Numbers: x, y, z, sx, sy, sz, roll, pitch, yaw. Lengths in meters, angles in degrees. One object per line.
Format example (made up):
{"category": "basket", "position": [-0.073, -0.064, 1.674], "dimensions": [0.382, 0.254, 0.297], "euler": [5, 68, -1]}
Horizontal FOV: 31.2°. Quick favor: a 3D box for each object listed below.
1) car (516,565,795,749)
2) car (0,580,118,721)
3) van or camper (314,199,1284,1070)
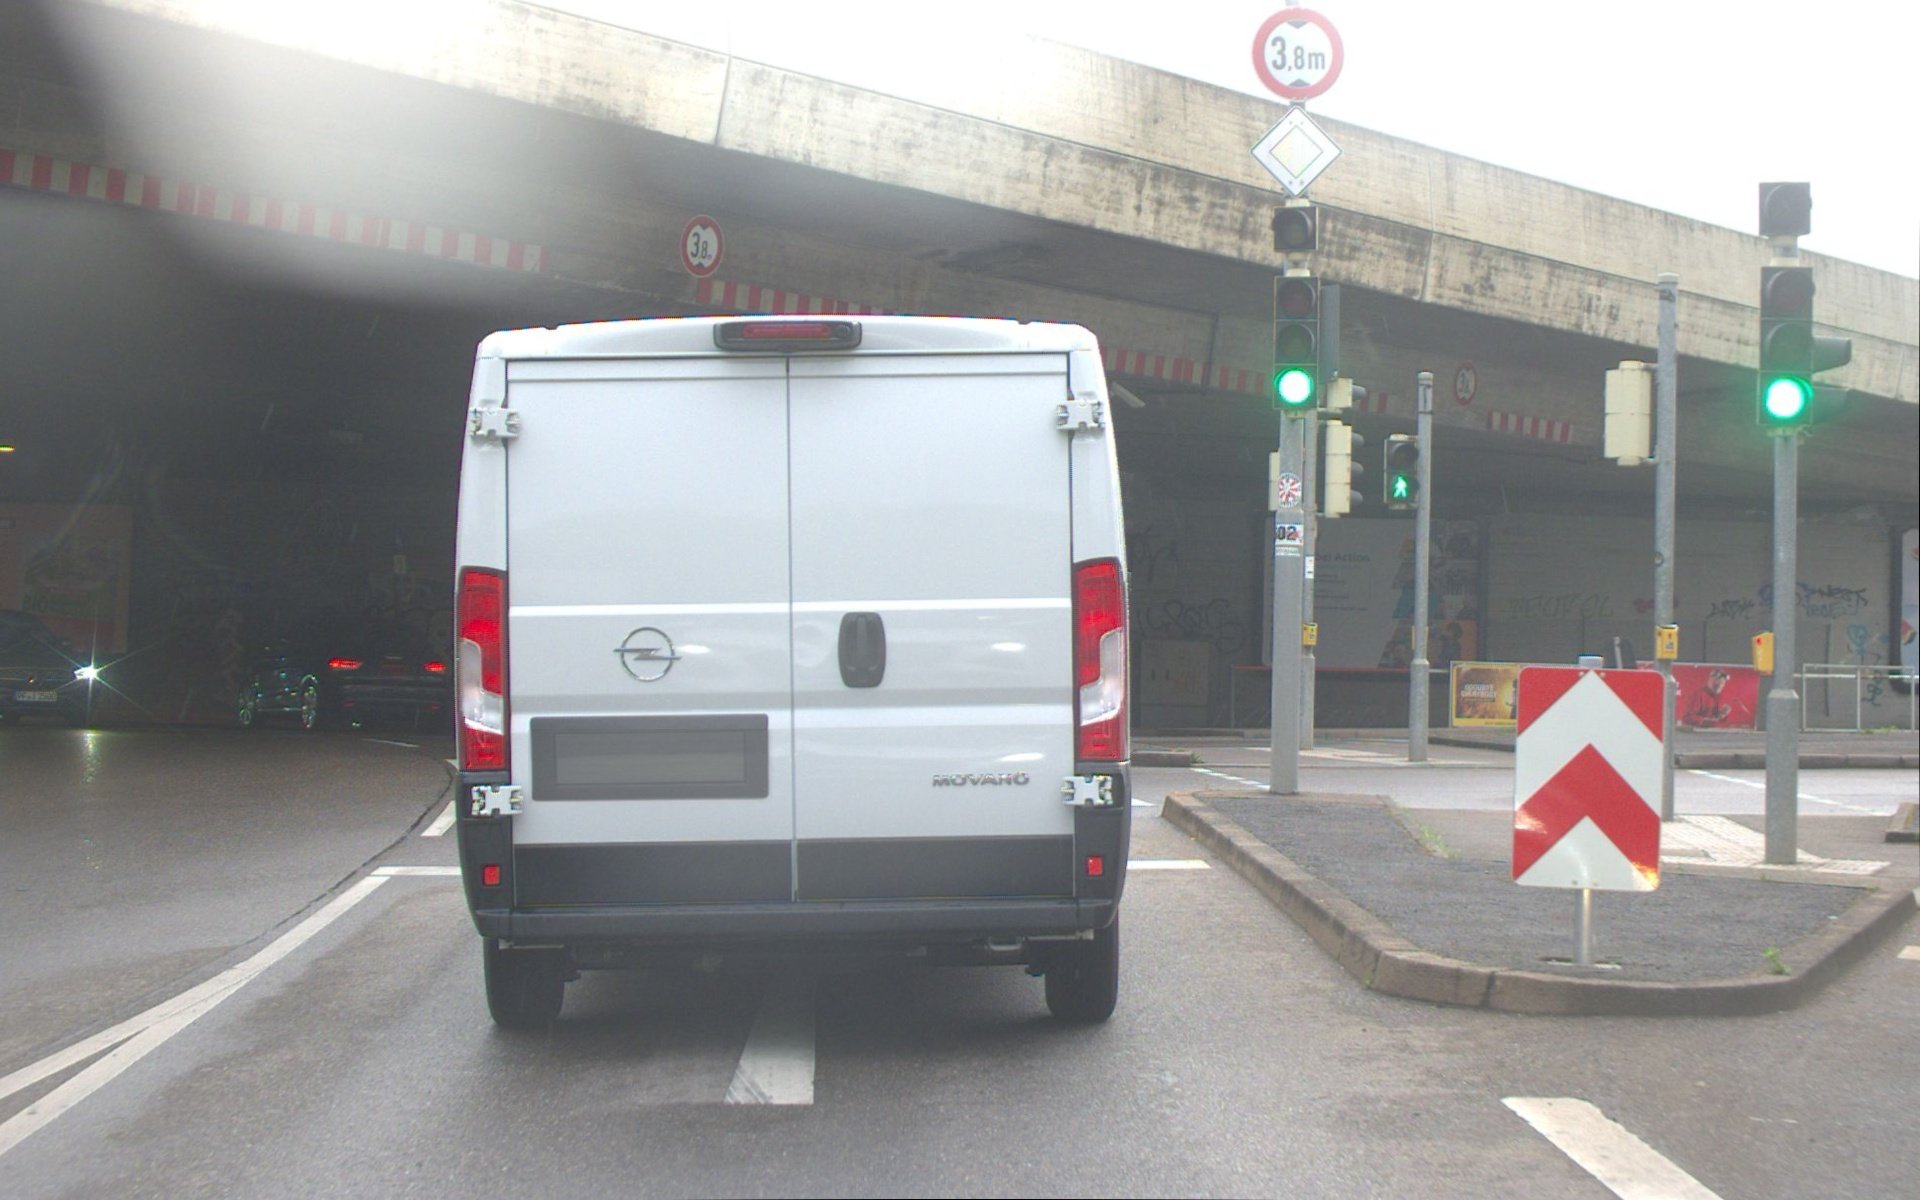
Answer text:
{"category": "car", "position": [-2.688, 0.499, 29.493], "dimensions": [1.835, 1.433, 4.104], "euler": [1, -1, -13]}
{"category": "car", "position": [-11.809, 0.548, 41.311], "dimensions": [1.993, 1.525, 4.500], "euler": [2, 1, -31]}
{"category": "van or camper", "position": [-0.507, 0.082, 12.229], "dimensions": [2.698, 2.408, 4.903], "euler": [1, 0, -1]}
